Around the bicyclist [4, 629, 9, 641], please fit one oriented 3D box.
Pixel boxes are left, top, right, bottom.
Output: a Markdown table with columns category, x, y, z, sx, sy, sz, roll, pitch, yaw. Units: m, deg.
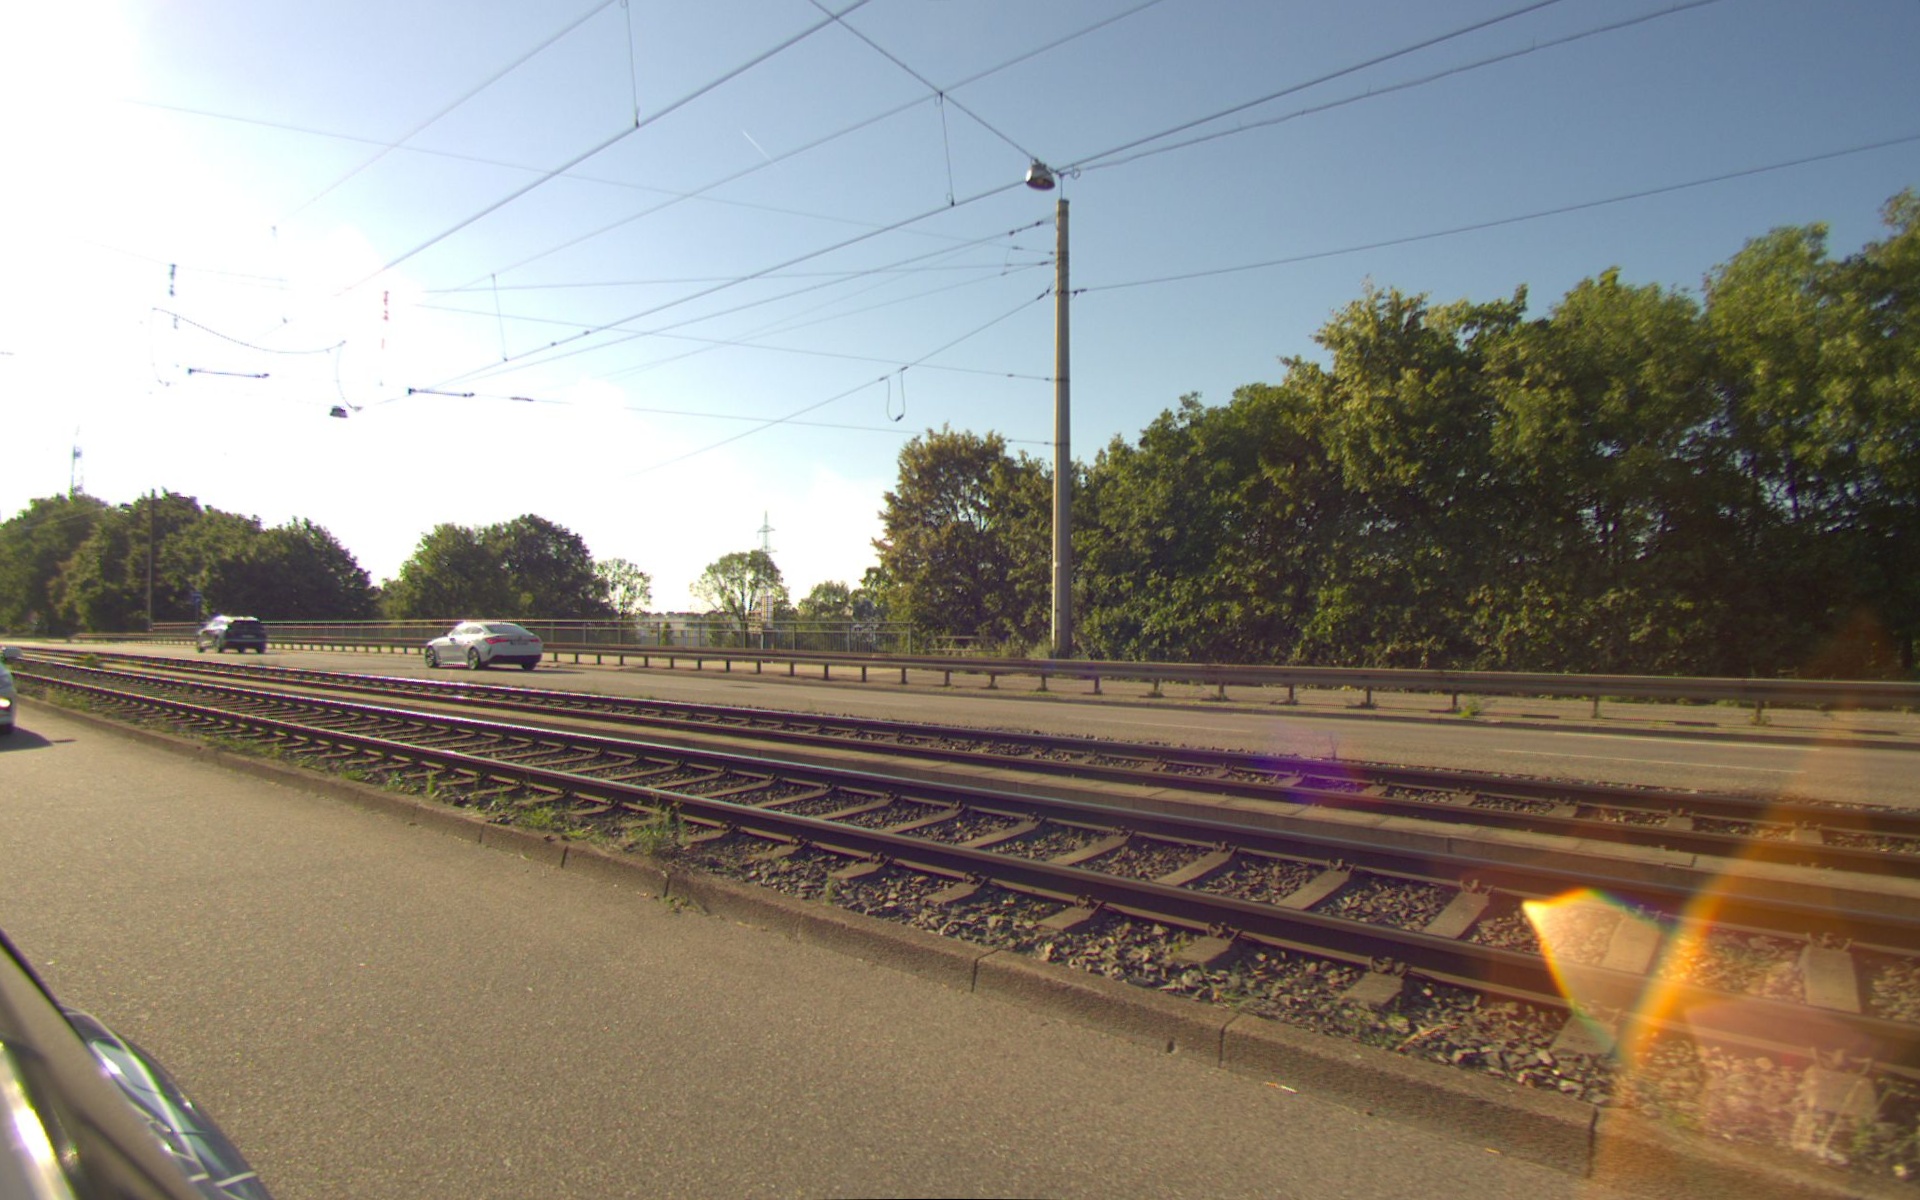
| category | x | y | z | sx | sy | sz | roll | pitch | yaw |
| --- | --- | --- | --- | --- | --- | --- | --- | --- | --- |
| bicyclist | -112.522 | 4.097 | 119.391 | 0.417 | 1.439 | 0.755 | 0 | -1 | -44 |

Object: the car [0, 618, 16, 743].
| category | x | y | z | sx | sy | sz | roll | pitch | yaw |
| --- | --- | --- | --- | --- | --- | --- | --- | --- | --- |
| car | -13.601 | 1.004 | 13.028 | 3.859 | 1.523 | 1.687 | -1 | 0 | 40 |

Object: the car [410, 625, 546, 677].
| category | x | y | z | sx | sy | sz | roll | pitch | yaw |
| --- | --- | --- | --- | --- | --- | --- | --- | --- | --- |
| car | -14.758 | 1.534 | 30.893 | 4.871 | 1.425 | 1.738 | -1 | -4 | 38 |

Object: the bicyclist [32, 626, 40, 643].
| category | x | y | z | sx | sy | sz | roll | pitch | yaw |
| --- | --- | --- | --- | --- | --- | --- | --- | --- | --- |
| bicyclist | -98.866 | 3.656 | 108.240 | 0.832 | 1.764 | 0.492 | -1 | -1 | 39 |

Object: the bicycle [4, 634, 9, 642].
| category | x | y | z | sx | sy | sz | roll | pitch | yaw |
| --- | --- | --- | --- | --- | --- | --- | --- | --- | --- |
| bicycle | -112.469 | 4.485 | 119.349 | 0.420 | 0.971 | 1.914 | 0 | -1 | -44 |

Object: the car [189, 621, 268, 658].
| category | x | y | z | sx | sy | sz | roll | pitch | yaw |
| --- | --- | --- | --- | --- | --- | --- | --- | --- | --- |
| car | -33.179 | 1.780 | 45.847 | 4.795 | 1.592 | 1.692 | -1 | -2 | 39 |

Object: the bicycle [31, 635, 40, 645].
| category | x | y | z | sx | sy | sz | roll | pitch | yaw |
| --- | --- | --- | --- | --- | --- | --- | --- | --- | --- |
| bicycle | -98.855 | 4.260 | 108.238 | 1.726 | 1.060 | 0.499 | -1 | -1 | 40 |
